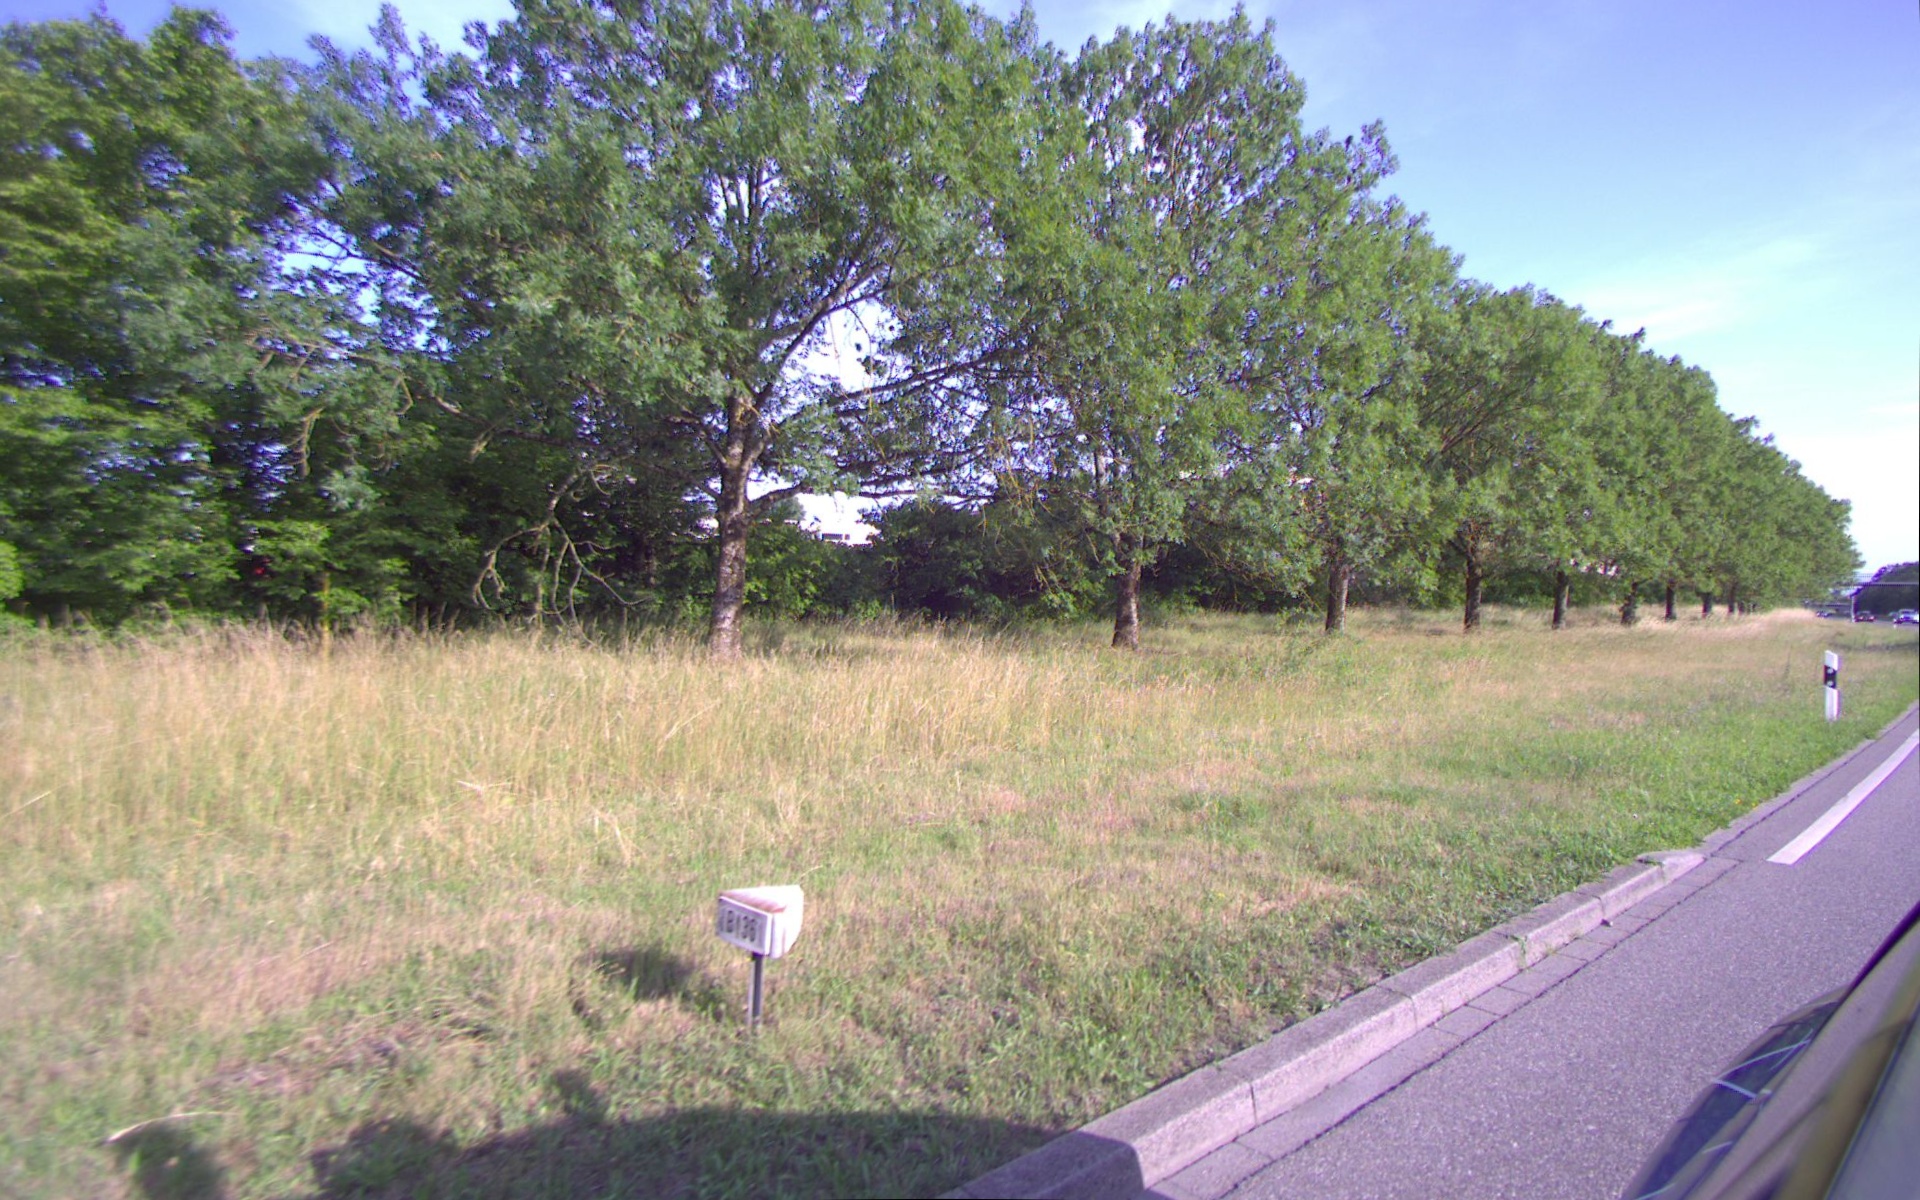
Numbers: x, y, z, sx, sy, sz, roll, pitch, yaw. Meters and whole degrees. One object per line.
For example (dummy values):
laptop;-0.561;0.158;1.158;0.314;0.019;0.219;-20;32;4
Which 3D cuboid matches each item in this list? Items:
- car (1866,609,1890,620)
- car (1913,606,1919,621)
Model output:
car;127.316;1.995;140.412;1.890;1.403;4.301;0;0;34
car;121.391;1.725;127.063;1.890;1.847;4.301;0;0;34
